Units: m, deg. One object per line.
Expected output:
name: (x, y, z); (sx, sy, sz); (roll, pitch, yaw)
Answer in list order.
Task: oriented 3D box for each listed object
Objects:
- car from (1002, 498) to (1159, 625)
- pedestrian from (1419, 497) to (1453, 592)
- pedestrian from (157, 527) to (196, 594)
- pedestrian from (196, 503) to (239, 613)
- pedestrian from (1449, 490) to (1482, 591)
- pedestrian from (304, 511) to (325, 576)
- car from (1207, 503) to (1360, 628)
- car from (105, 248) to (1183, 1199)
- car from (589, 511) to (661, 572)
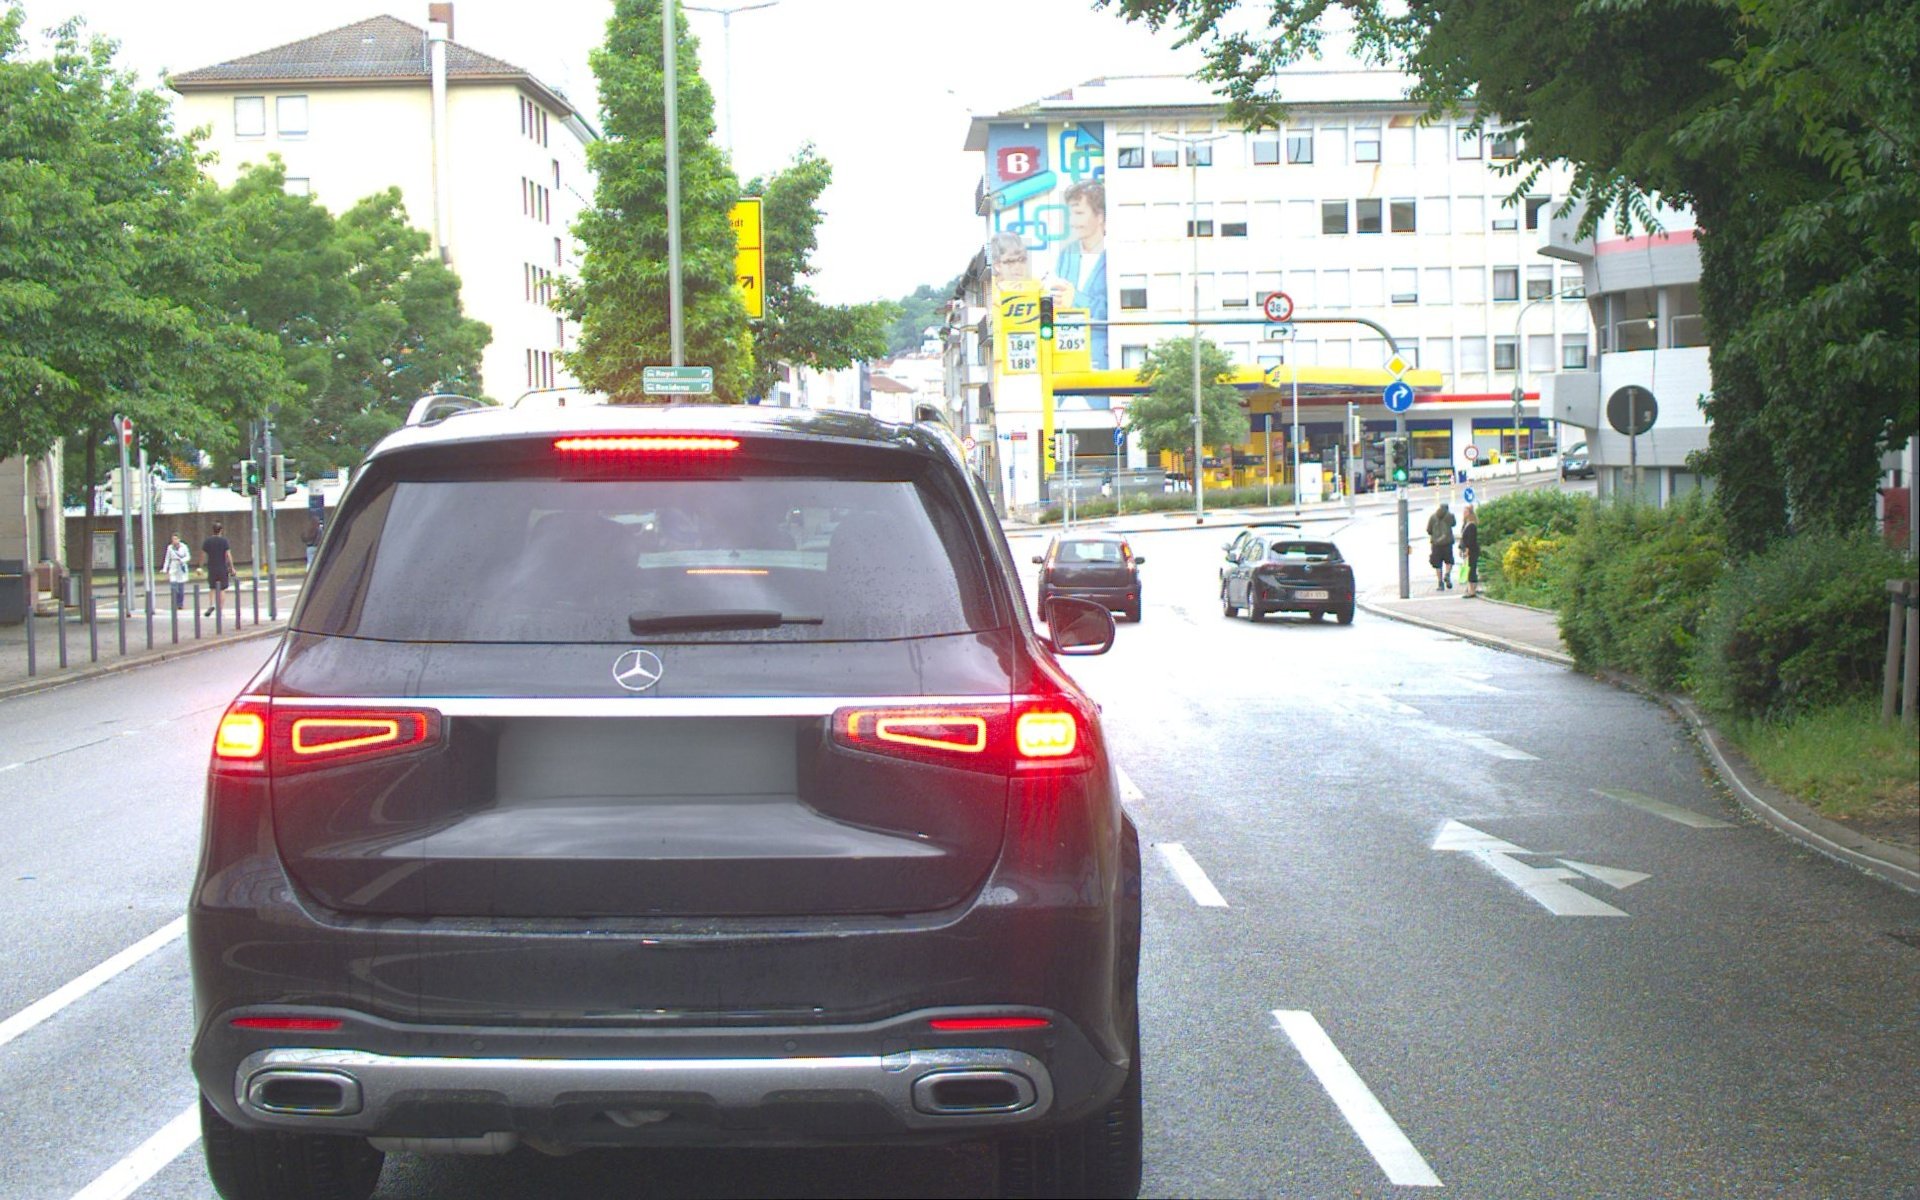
car: (1.956, -0.635, 57.099); (1.993, 2.007, 4.001); (1, 0, -7)
pedestrian: (9.749, -1.140, 70.401); (0.620, 1.929, 0.610); (1, 0, 5)
pedestrian: (-17.393, -0.877, 76.348); (0.711, 1.457, 0.598); (1, 0, -2)
pedestrian: (-13.961, -0.795, 64.645); (0.587, 2.006, 0.749); (3, 2, -2)
pedestrian: (9.606, -1.125, 65.348); (0.519, 1.904, 0.556); (1, 0, -1)
pedestrian: (-16.296, -1.424, 86.775); (0.399, 1.639, 0.567); (1, 0, -1)
car: (5.361, -0.608, 57.379); (1.993, 2.007, 4.001); (-1, 1, -2)
car: (-0.659, 0.345, 8.456); (1.993, 2.007, 4.000); (1, 0, -2)
car: (-10.789, -1.866, 110.907); (1.993, 1.868, 5.142); (1, 0, -2)
